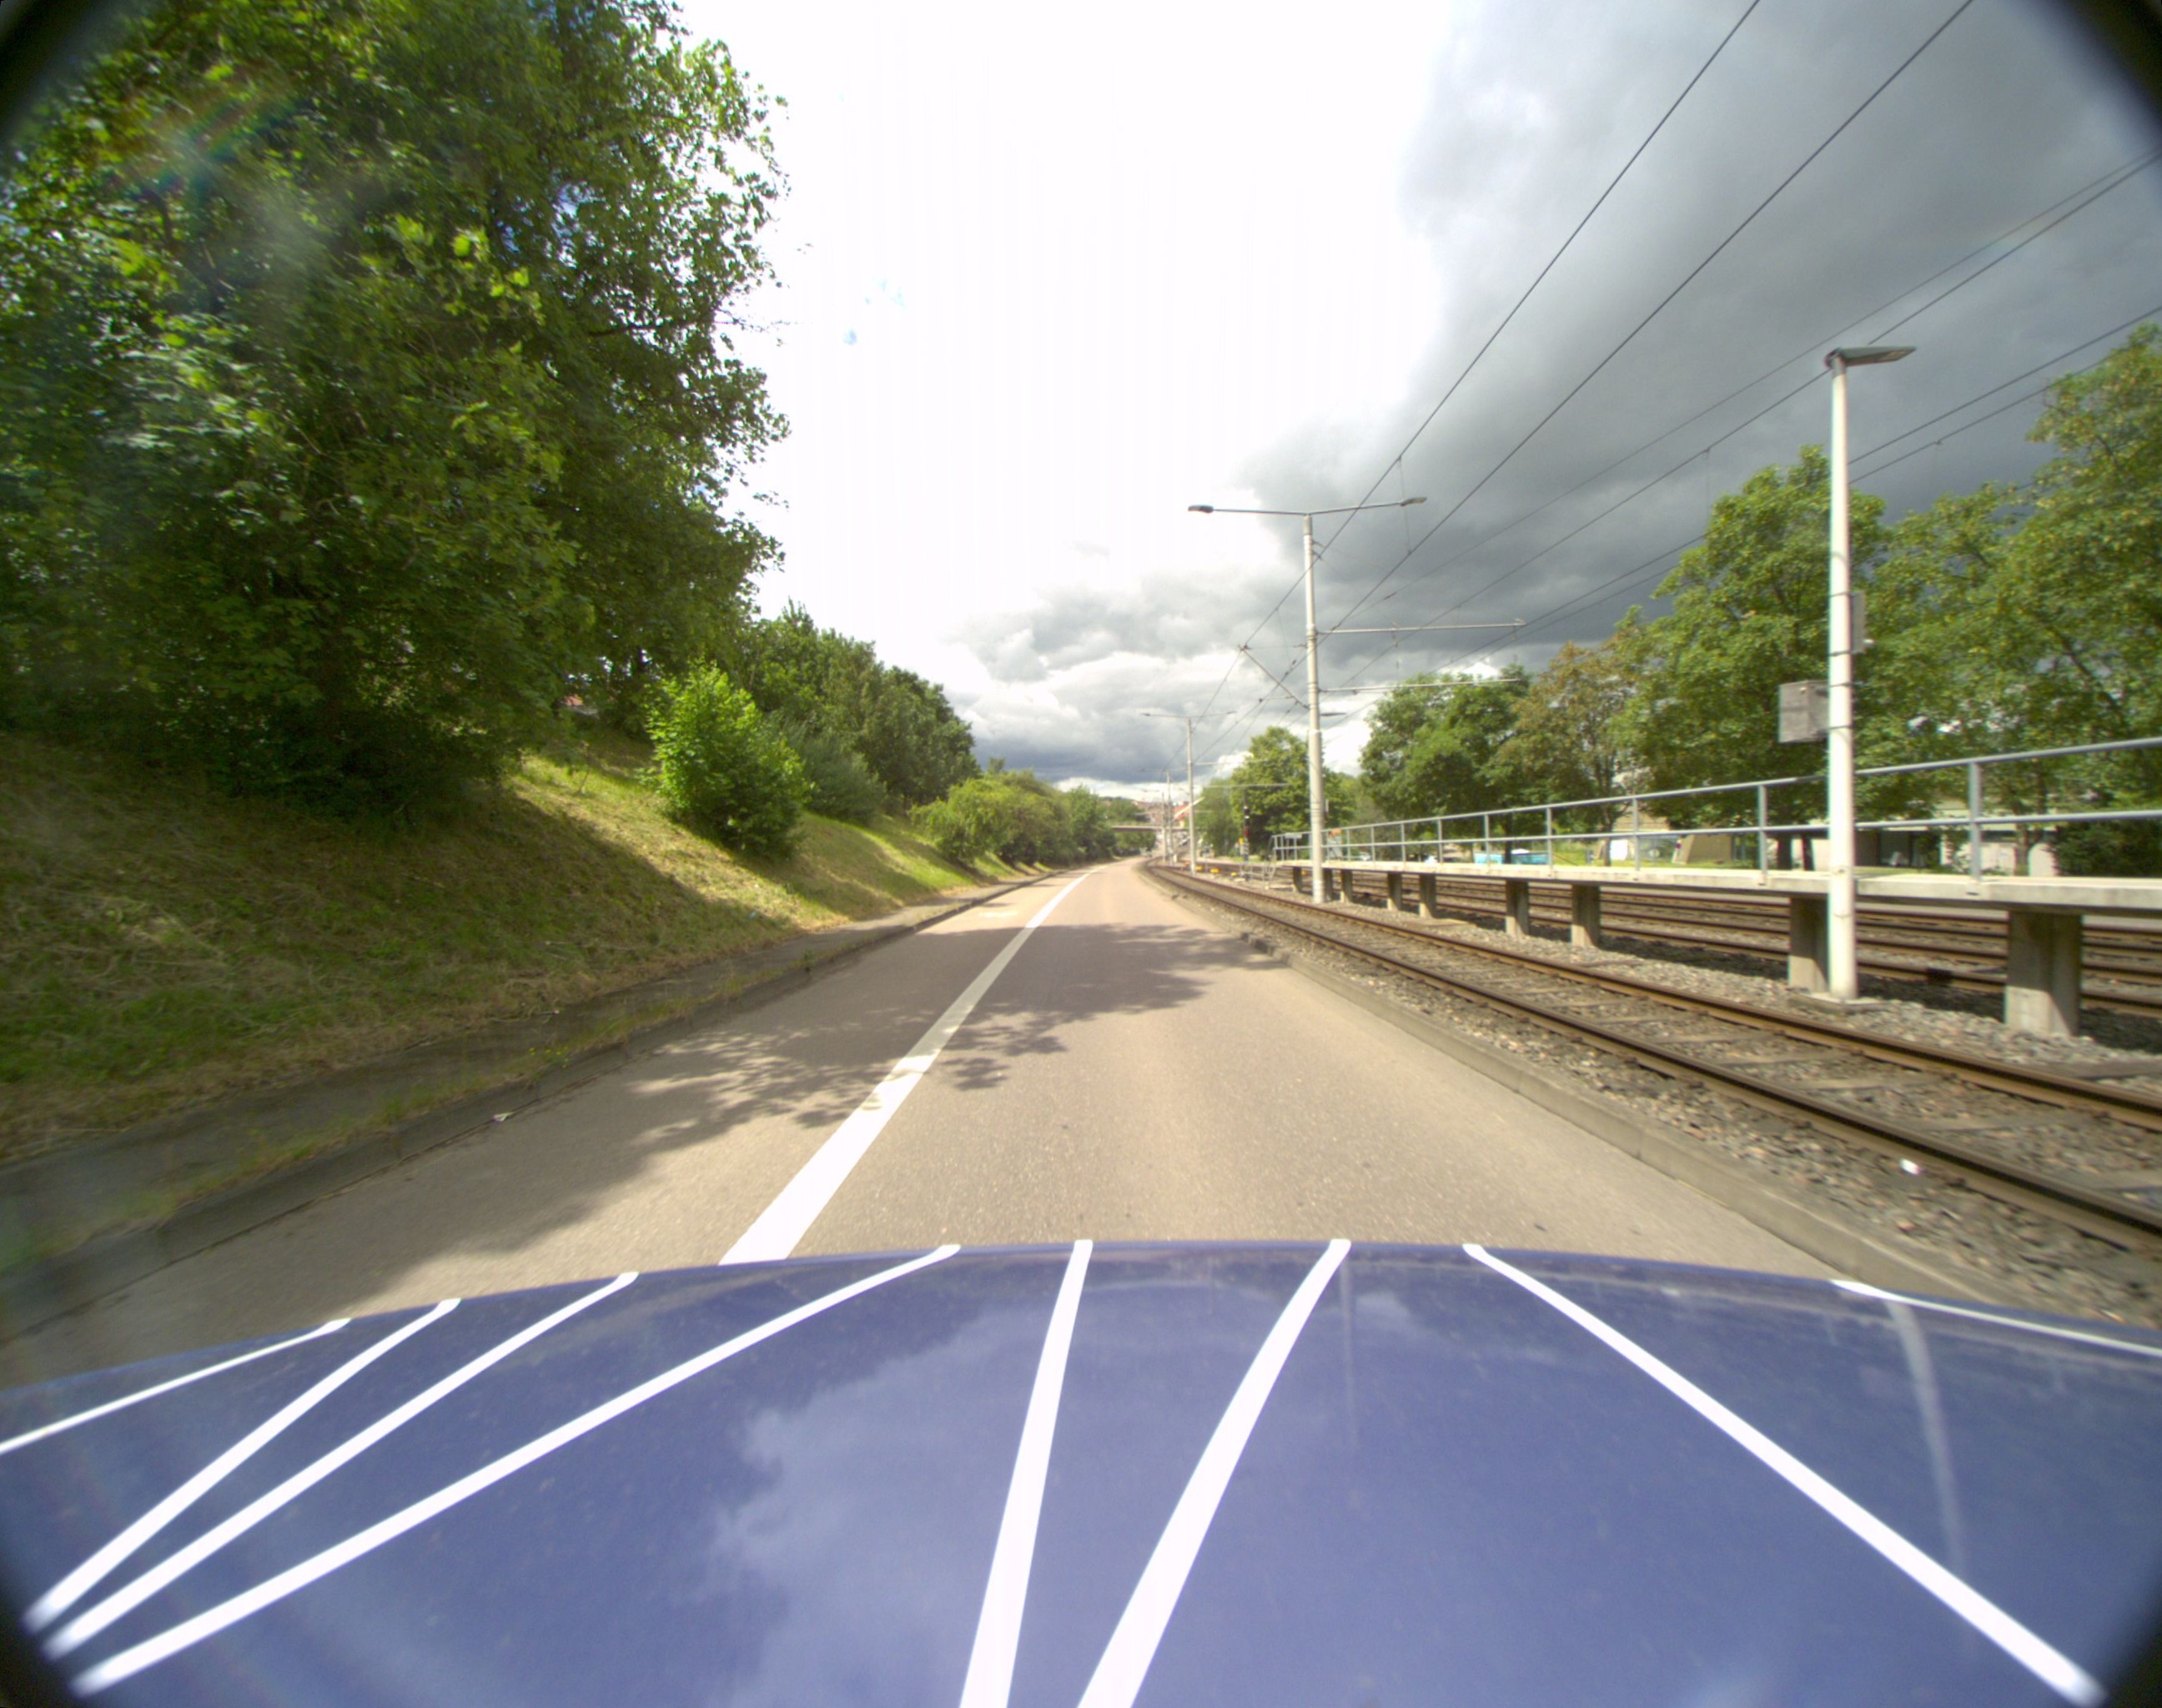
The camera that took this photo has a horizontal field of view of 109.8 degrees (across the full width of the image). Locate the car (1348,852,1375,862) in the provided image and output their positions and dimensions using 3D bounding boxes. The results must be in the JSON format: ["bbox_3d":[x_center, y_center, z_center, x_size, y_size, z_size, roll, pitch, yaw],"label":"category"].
[{"bbox_3d":[45.376,0.464,122.873,3.867,1.526,1.628,0,0,4],"label":"car"}]
